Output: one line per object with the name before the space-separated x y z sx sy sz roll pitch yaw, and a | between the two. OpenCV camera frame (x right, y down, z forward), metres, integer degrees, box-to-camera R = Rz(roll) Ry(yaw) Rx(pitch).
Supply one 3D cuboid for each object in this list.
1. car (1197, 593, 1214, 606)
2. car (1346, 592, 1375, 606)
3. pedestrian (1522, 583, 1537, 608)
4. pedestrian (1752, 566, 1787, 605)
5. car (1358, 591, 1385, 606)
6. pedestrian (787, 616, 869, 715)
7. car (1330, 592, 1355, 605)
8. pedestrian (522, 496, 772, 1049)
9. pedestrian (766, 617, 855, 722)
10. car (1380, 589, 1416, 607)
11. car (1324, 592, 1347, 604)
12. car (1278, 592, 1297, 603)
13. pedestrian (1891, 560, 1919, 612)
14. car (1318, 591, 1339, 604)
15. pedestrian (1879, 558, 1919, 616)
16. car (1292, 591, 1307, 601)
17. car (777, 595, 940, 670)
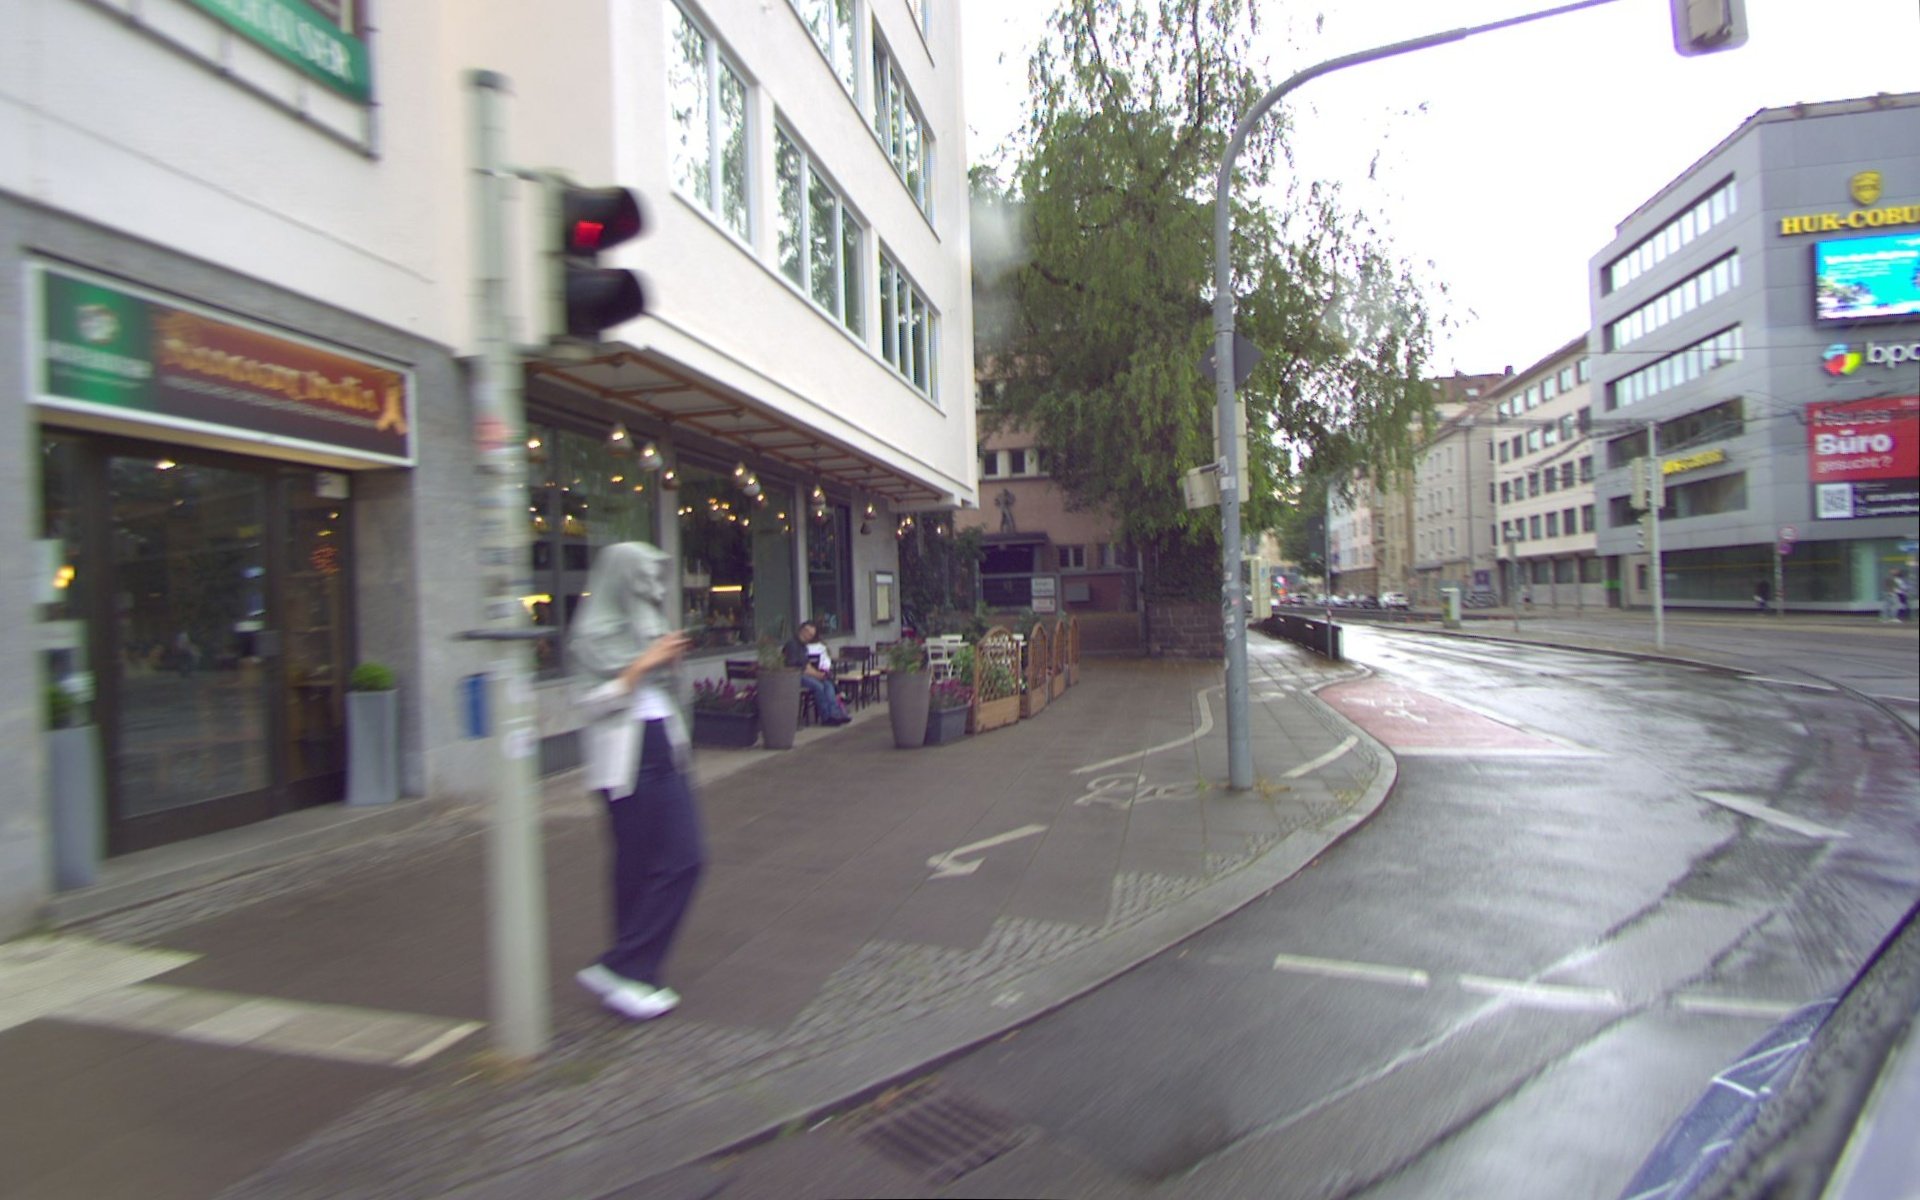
car | 29.675 -0.055 122.395 1.761 1.549 4.229 -2 0 12
car | 43.375 -0.140 109.694 1.968 1.474 5.006 1 1 11
pedestrian | 38.451 -0.284 68.301 0.540 1.633 0.795 -5 -1 14
pedestrian | 34.370 -0.621 42.983 0.957 1.614 0.584 -4 -1 26
car | 42.379 -0.208 104.368 1.714 1.474 4.157 1 1 11
pedestrian | -1.673 0.818 12.887 0.904 1.206 0.566 0 0 12
car | 45.427 -0.203 120.140 1.969 1.415 5.004 1 1 12
pedestrian | -1.113 0.536 3.605 0.693 1.734 0.528 0 0 -40
pedestrian | -1.802 0.826 12.269 0.918 1.206 0.633 0 0 12
car | 40.220 -0.228 93.073 1.968 1.556 4.734 1 1 11
car | 46.457 -0.241 125.231 1.814 1.415 4.253 0 0 10
car | 47.885 -0.400 148.079 1.913 1.556 4.339 1 1 8
pedestrian | 34.768 -0.504 36.847 0.956 1.838 0.662 -4 -1 6
car | 47.640 -0.374 130.791 1.814 1.625 4.216 0 0 10
pedestrian | 33.597 -0.468 36.209 0.653 2.039 0.807 -4 -1 14
car | 53.268 -0.619 158.854 1.816 1.561 4.213 0 0 12
car | -2.180 0.682 22.158 3.146 1.526 1.794 -1 0 13
